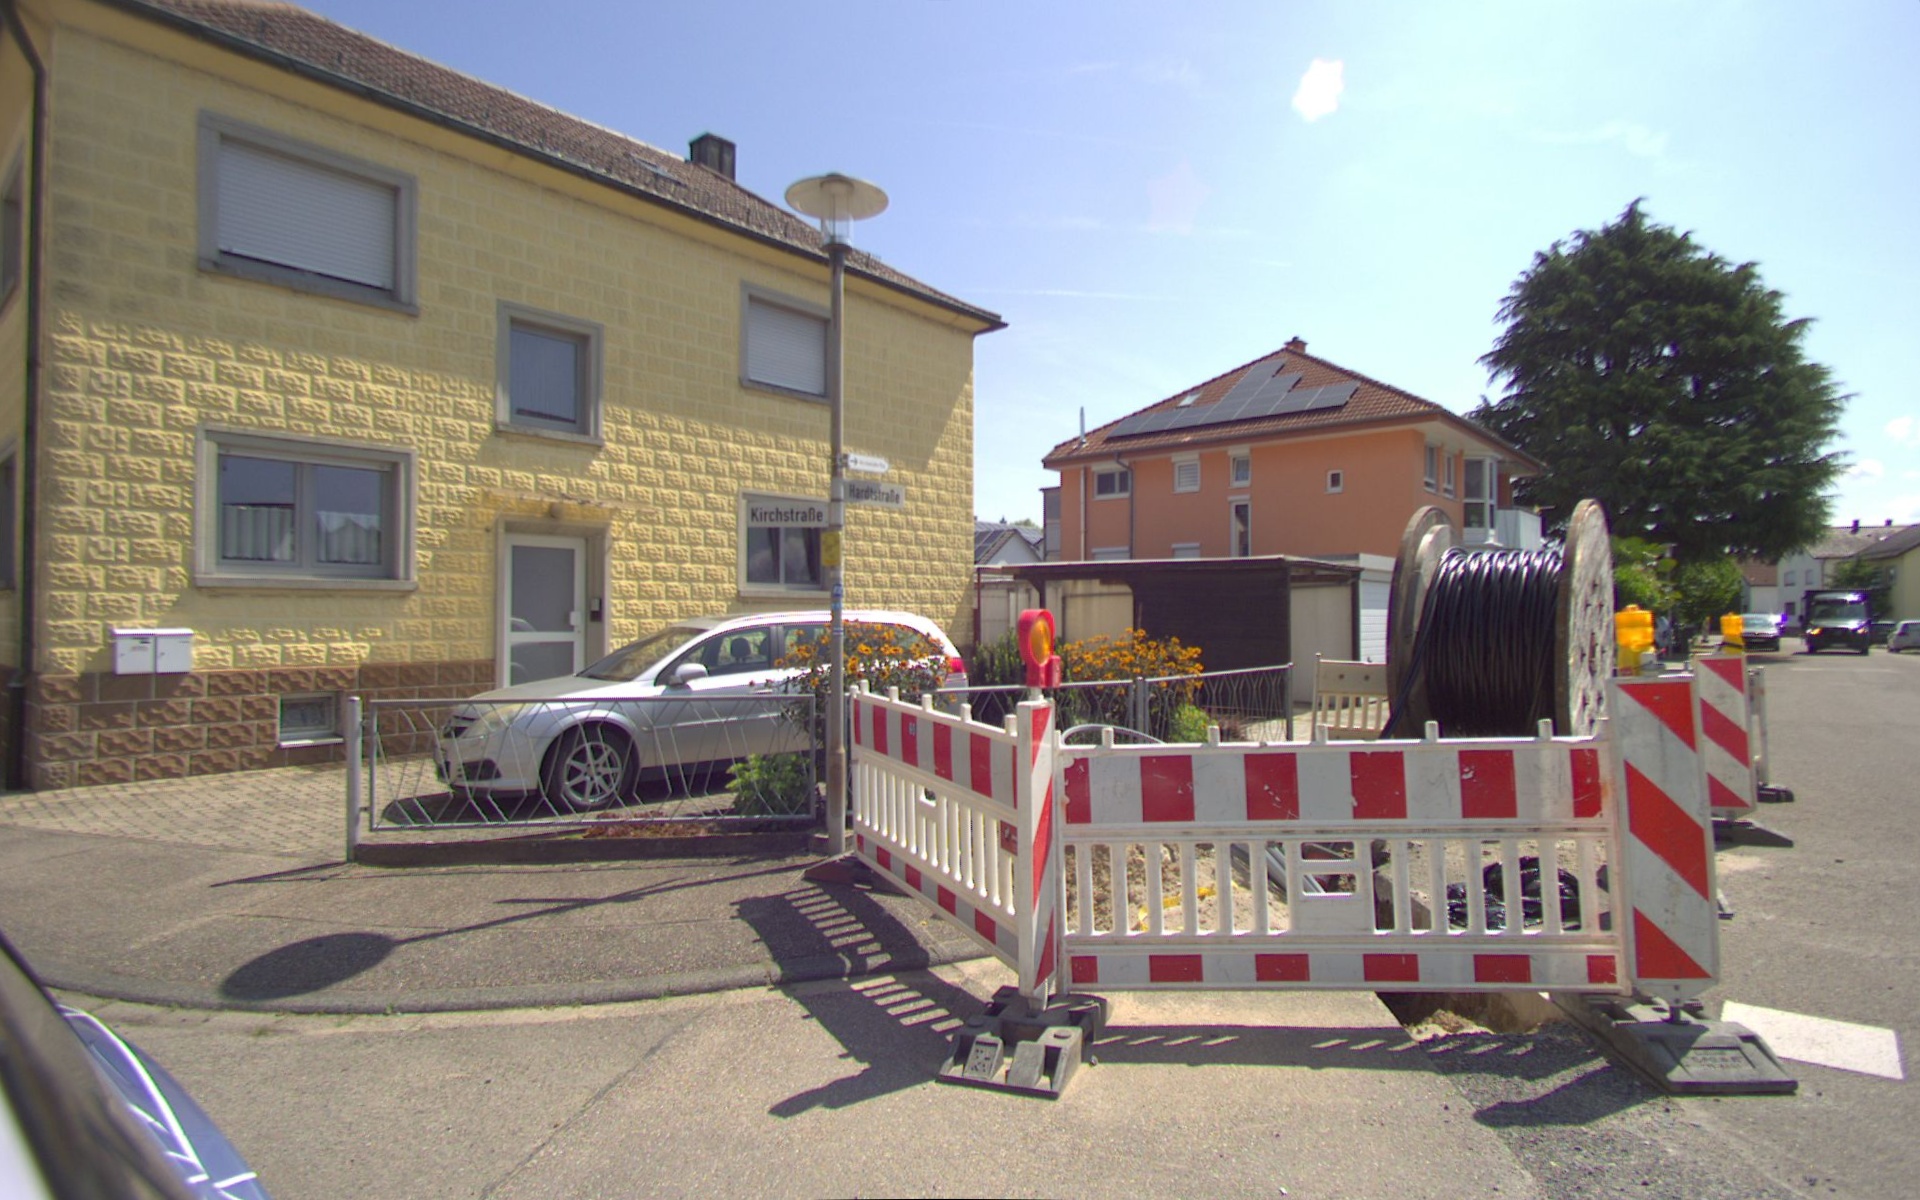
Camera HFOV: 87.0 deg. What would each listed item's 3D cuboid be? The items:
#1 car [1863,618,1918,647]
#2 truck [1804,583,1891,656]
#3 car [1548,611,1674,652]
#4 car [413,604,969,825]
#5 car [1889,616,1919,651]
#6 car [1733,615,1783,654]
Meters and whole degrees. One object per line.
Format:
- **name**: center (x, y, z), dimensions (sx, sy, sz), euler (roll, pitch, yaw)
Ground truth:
- **car**: center (51.021, 1.767, 55.558), dimensions (1.811, 1.506, 3.949), euler (-1, -2, 37)
- **truck**: center (38.018, 0.863, 43.456), dimensions (2.440, 2.809, 7.198), euler (-5, -4, 41)
- **car**: center (27.515, 1.327, 42.857), dimensions (4.207, 1.665, 1.788), euler (-2, -2, 43)
- **car**: center (-2.193, 0.826, 8.937), dimensions (4.400, 1.496, 1.796), euler (1, -2, -38)
- **car**: center (43.318, 1.487, 45.527), dimensions (1.811, 1.506, 3.949), euler (-1, -2, 37)
- **car**: center (38.580, 1.639, 48.993), dimensions (1.811, 1.776, 4.153), euler (-1, -2, 37)
